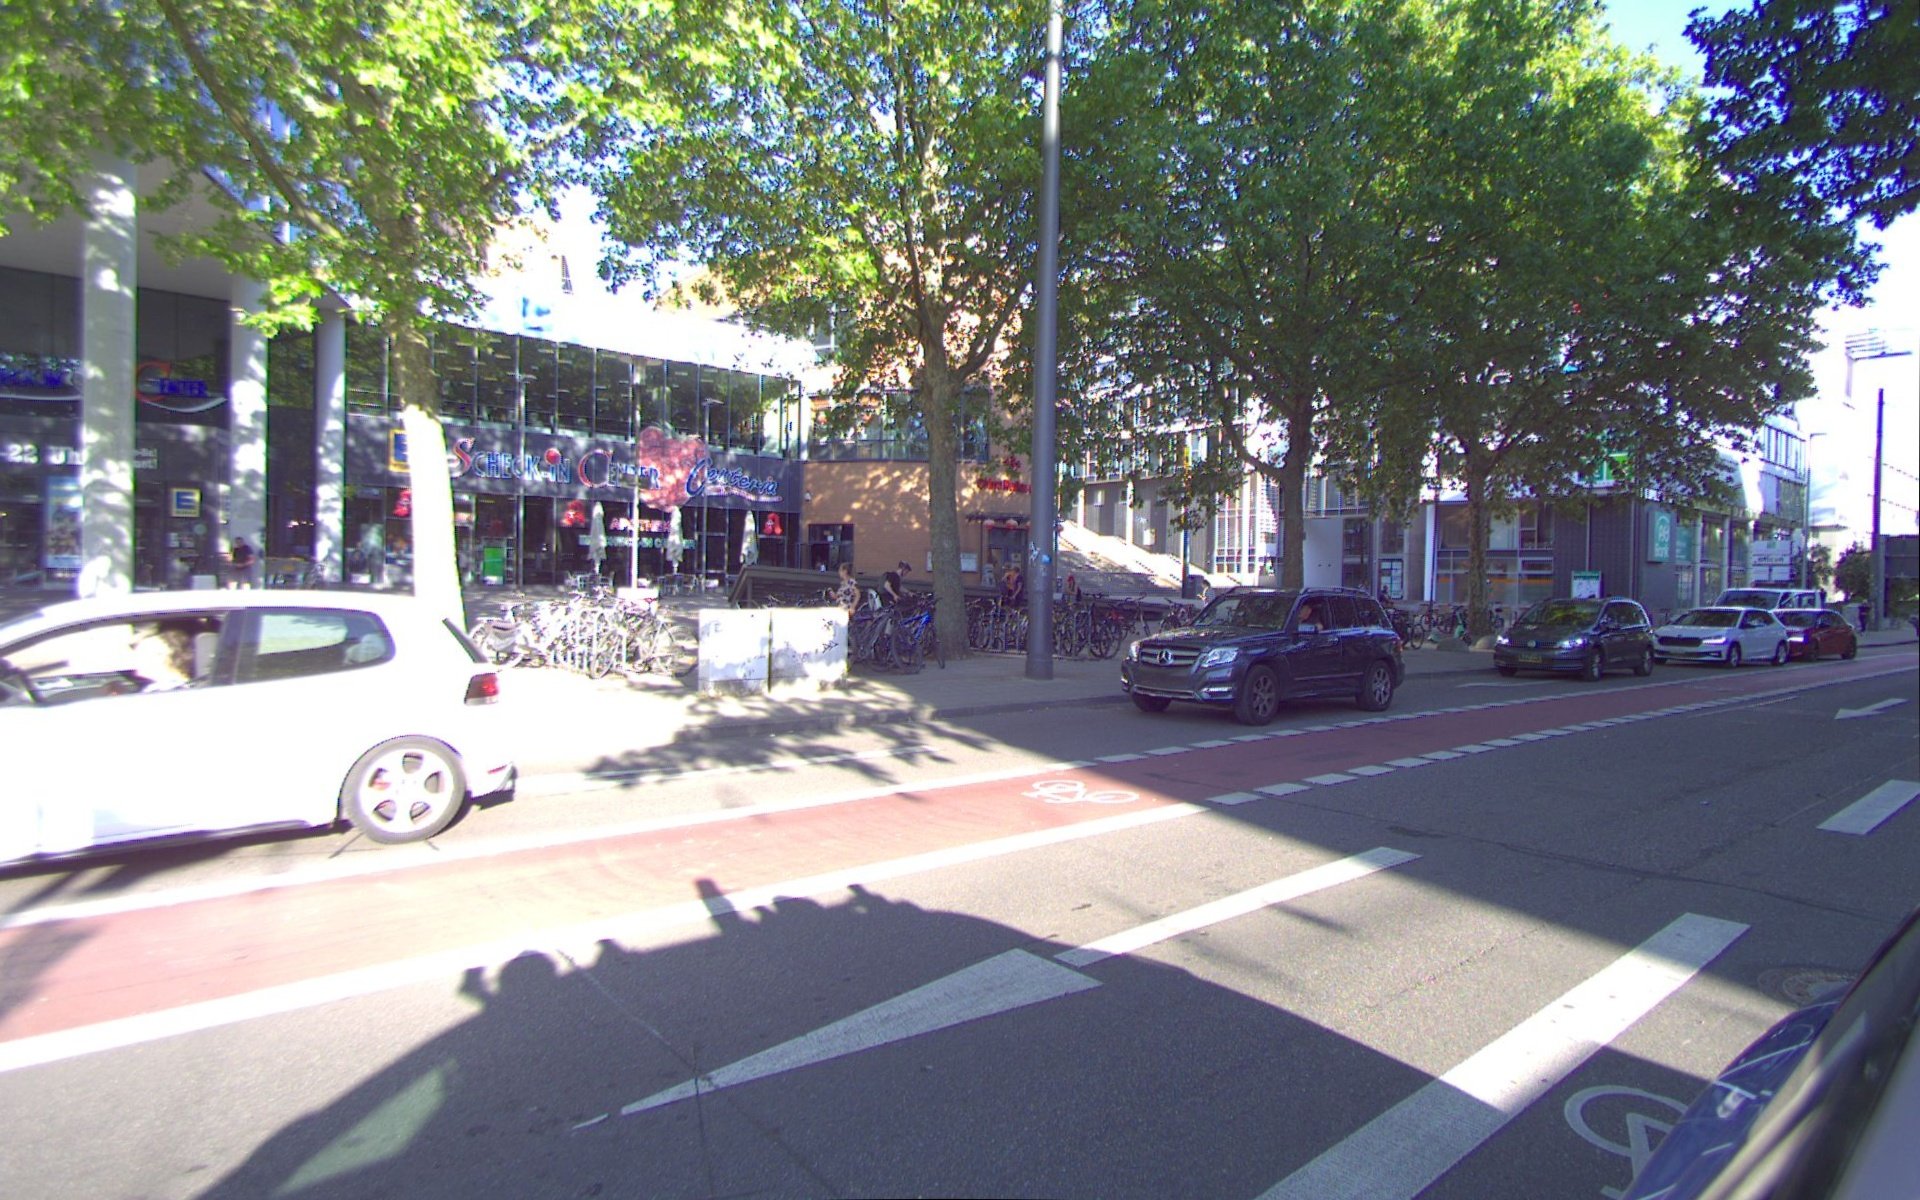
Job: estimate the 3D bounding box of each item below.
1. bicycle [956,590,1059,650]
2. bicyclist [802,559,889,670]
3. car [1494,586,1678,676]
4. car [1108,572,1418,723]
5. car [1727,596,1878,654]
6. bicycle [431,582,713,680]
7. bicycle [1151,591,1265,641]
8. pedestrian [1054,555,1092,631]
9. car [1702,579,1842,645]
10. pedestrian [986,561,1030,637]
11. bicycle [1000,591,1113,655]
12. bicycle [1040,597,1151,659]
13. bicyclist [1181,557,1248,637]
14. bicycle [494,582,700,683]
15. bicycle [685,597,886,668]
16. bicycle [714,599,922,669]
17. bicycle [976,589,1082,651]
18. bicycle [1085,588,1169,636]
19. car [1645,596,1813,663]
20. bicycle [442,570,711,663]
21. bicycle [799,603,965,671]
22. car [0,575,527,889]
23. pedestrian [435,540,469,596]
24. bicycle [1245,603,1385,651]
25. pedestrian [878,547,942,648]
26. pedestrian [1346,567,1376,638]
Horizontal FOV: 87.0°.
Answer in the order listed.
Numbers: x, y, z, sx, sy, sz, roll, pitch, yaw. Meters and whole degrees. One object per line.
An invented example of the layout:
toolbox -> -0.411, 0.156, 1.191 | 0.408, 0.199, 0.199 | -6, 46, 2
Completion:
bicycle -> 0.993, 0.384, 20.874 | 2.251, 1.177, 0.657 | -1, 0, -38
bicyclist -> -1.766, 0.205, 15.575 | 1.005, 1.641, 0.902 | 0, 0, -41
car -> 12.753, 0.562, 20.523 | 4.308, 1.656, 1.711 | 0, 0, -37
car -> 3.996, 0.507, 13.047 | 4.172, 1.656, 1.769 | 0, 0, -38
car -> 23.368, 0.656, 28.049 | 4.110, 1.508, 1.839 | 0, -1, -29
bicycle -> -5.520, 0.392, 14.695 | 3.744, 1.236, 0.758 | -2, 1, -35
bicycle -> 6.493, 0.383, 26.768 | 1.124, 1.097, 3.342 | 0, 2, -23
pedestrian -> 3.421, -0.224, 30.702 | 0.884, 2.261, 0.845 | 0, 0, -19
car -> 26.354, 0.356, 32.764 | 5.804, 1.989, 1.935 | 0, 0, -34
pedestrian -> 1.444, -0.040, 30.718 | 1.195, 2.276, 1.052 | 0, 0, -3
bicycle -> 1.901, 0.416, 19.715 | 2.355, 1.177, 0.750 | -1, 0, -40
bicycle -> 2.578, 0.490, 19.058 | 2.295, 1.073, 0.682 | -1, 1, -39
bicyclist -> 6.643, -0.101, 26.463 | 1.132, 2.039, 1.301 | 0, 1, -24
bicycle -> -4.886, 0.394, 13.738 | 2.504, 1.236, 0.758 | -2, 1, -35
bicycle -> -2.950, 0.507, 17.505 | 3.352, 1.013, 1.051 | -1, 6, -41
bicycle -> -2.255, 0.505, 16.584 | 3.352, 1.014, 1.050 | -1, 0, -41
bicycle -> 1.410, 0.374, 20.308 | 2.263, 1.177, 0.671 | -1, 0, -38
bicycle -> 4.498, 0.303, 27.115 | 2.653, 1.215, 0.698 | -1, 1, -41
car -> 19.006, 0.674, 24.997 | 4.111, 1.508, 1.839 | 0, 0, -29
bicycle -> -5.781, 0.299, 15.537 | 3.743, 1.236, 0.729 | 4, -2, -35
bicycle -> -1.200, 0.550, 16.058 | 2.591, 0.960, 0.924 | -1, 0, -41
car -> -4.668, 0.596, 5.538 | 3.918, 1.446, 1.637 | 0, 0, -42
pedestrian -> -16.219, -1.006, 32.332 | 0.823, 1.765, 0.645 | 0, 1, -41
bicycle -> 8.302, 0.620, 23.661 | 3.136, 1.038, 0.979 | 0, 0, -18
pedestrian -> -1.035, -0.068, 21.122 | 0.922, 2.039, 1.085 | 2, 1, 24
pedestrian -> 15.337, 0.090, 38.700 | 0.967, 2.681, 0.897 | 0, 0, 18
